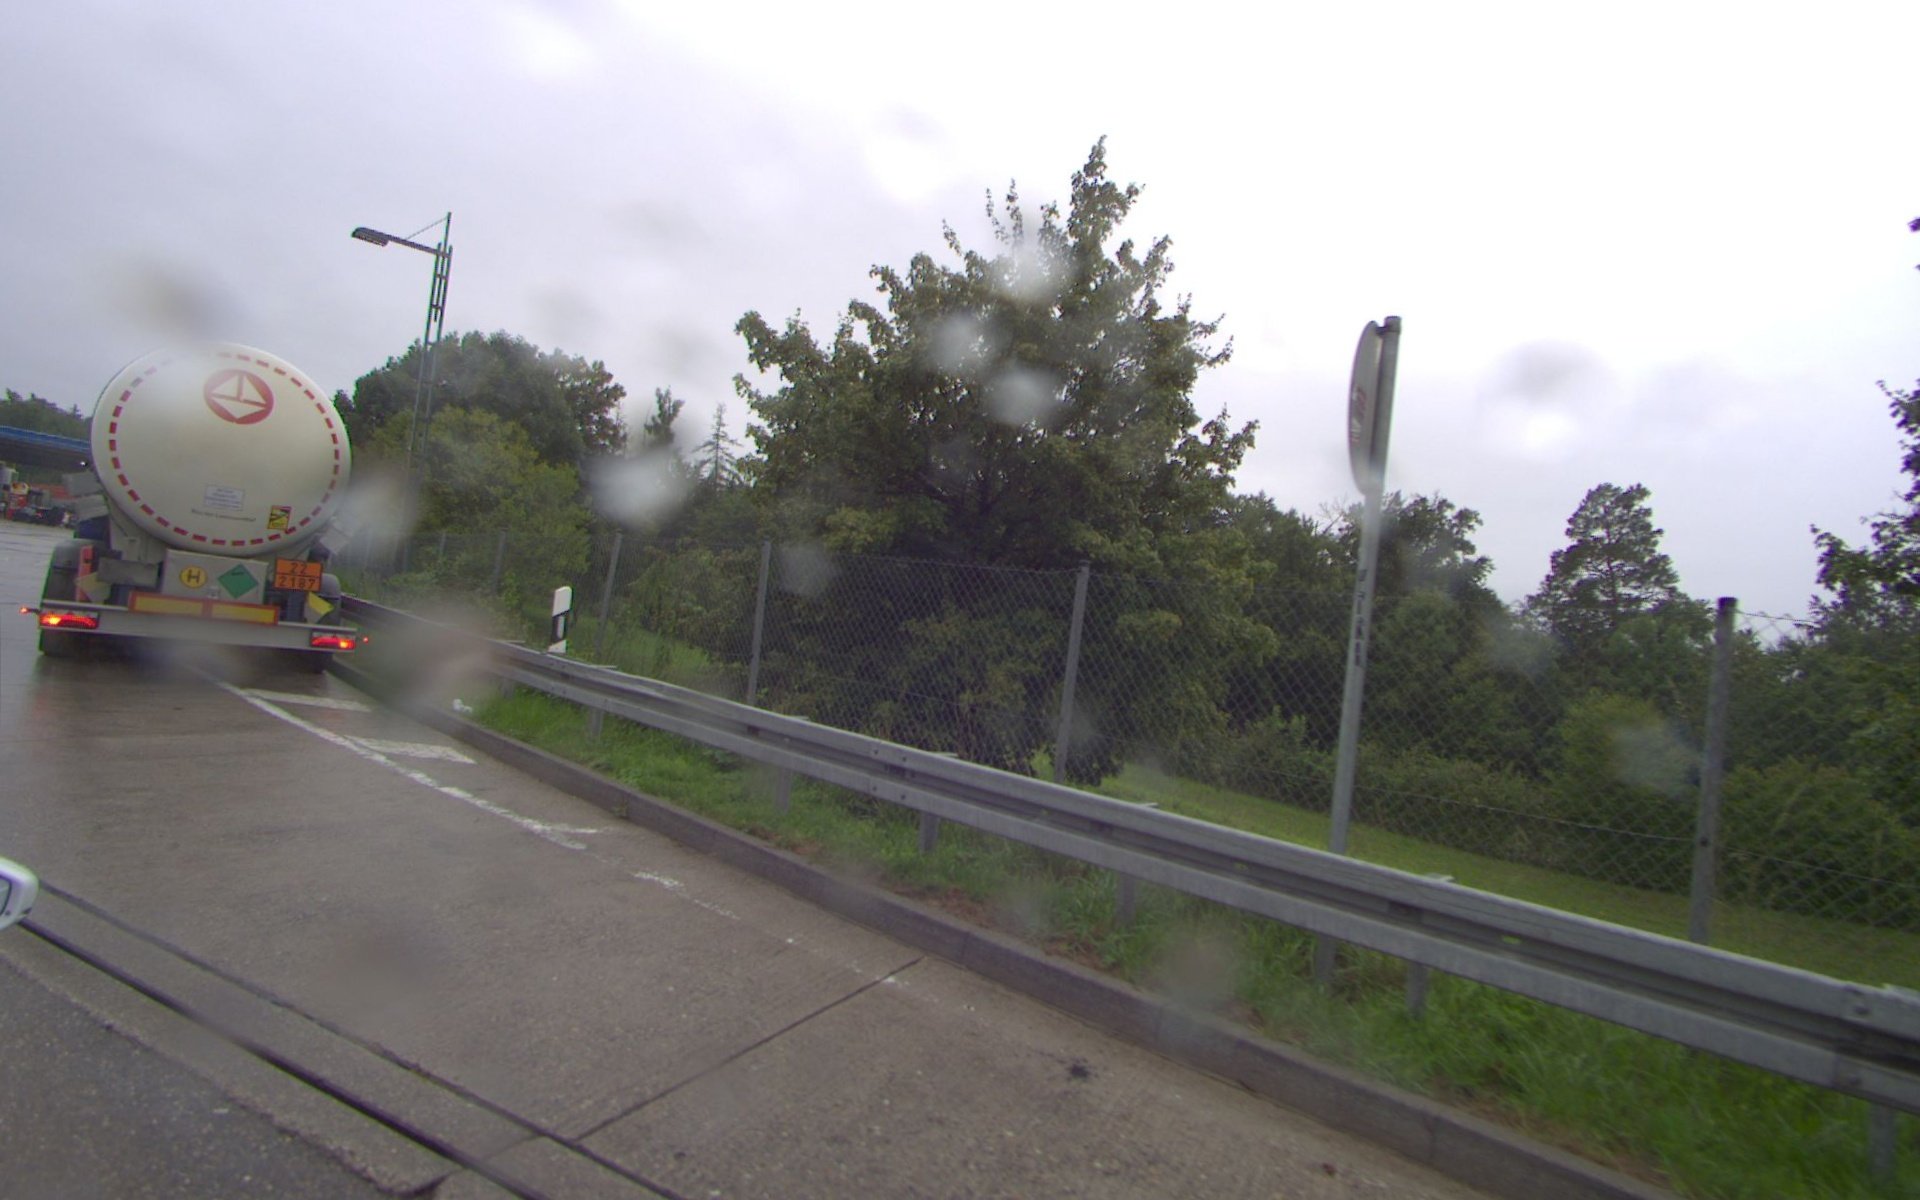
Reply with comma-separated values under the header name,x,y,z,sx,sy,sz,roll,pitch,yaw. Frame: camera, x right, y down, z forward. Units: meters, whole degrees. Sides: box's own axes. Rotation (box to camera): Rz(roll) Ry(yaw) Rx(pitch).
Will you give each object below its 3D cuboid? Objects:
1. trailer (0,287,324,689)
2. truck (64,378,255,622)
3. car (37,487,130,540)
name,x,y,z,sx,sy,sz,roll,pitch,yaw
trailer,-10.324,-1.174,13.070,1.973,3.261,10.210,9,-2,-39
truck,-14.333,-1.669,18.075,2.045,3.571,4.695,9,-2,-39
car,-41.995,-4.152,48.203,3.934,2.034,2.001,4,-6,31
